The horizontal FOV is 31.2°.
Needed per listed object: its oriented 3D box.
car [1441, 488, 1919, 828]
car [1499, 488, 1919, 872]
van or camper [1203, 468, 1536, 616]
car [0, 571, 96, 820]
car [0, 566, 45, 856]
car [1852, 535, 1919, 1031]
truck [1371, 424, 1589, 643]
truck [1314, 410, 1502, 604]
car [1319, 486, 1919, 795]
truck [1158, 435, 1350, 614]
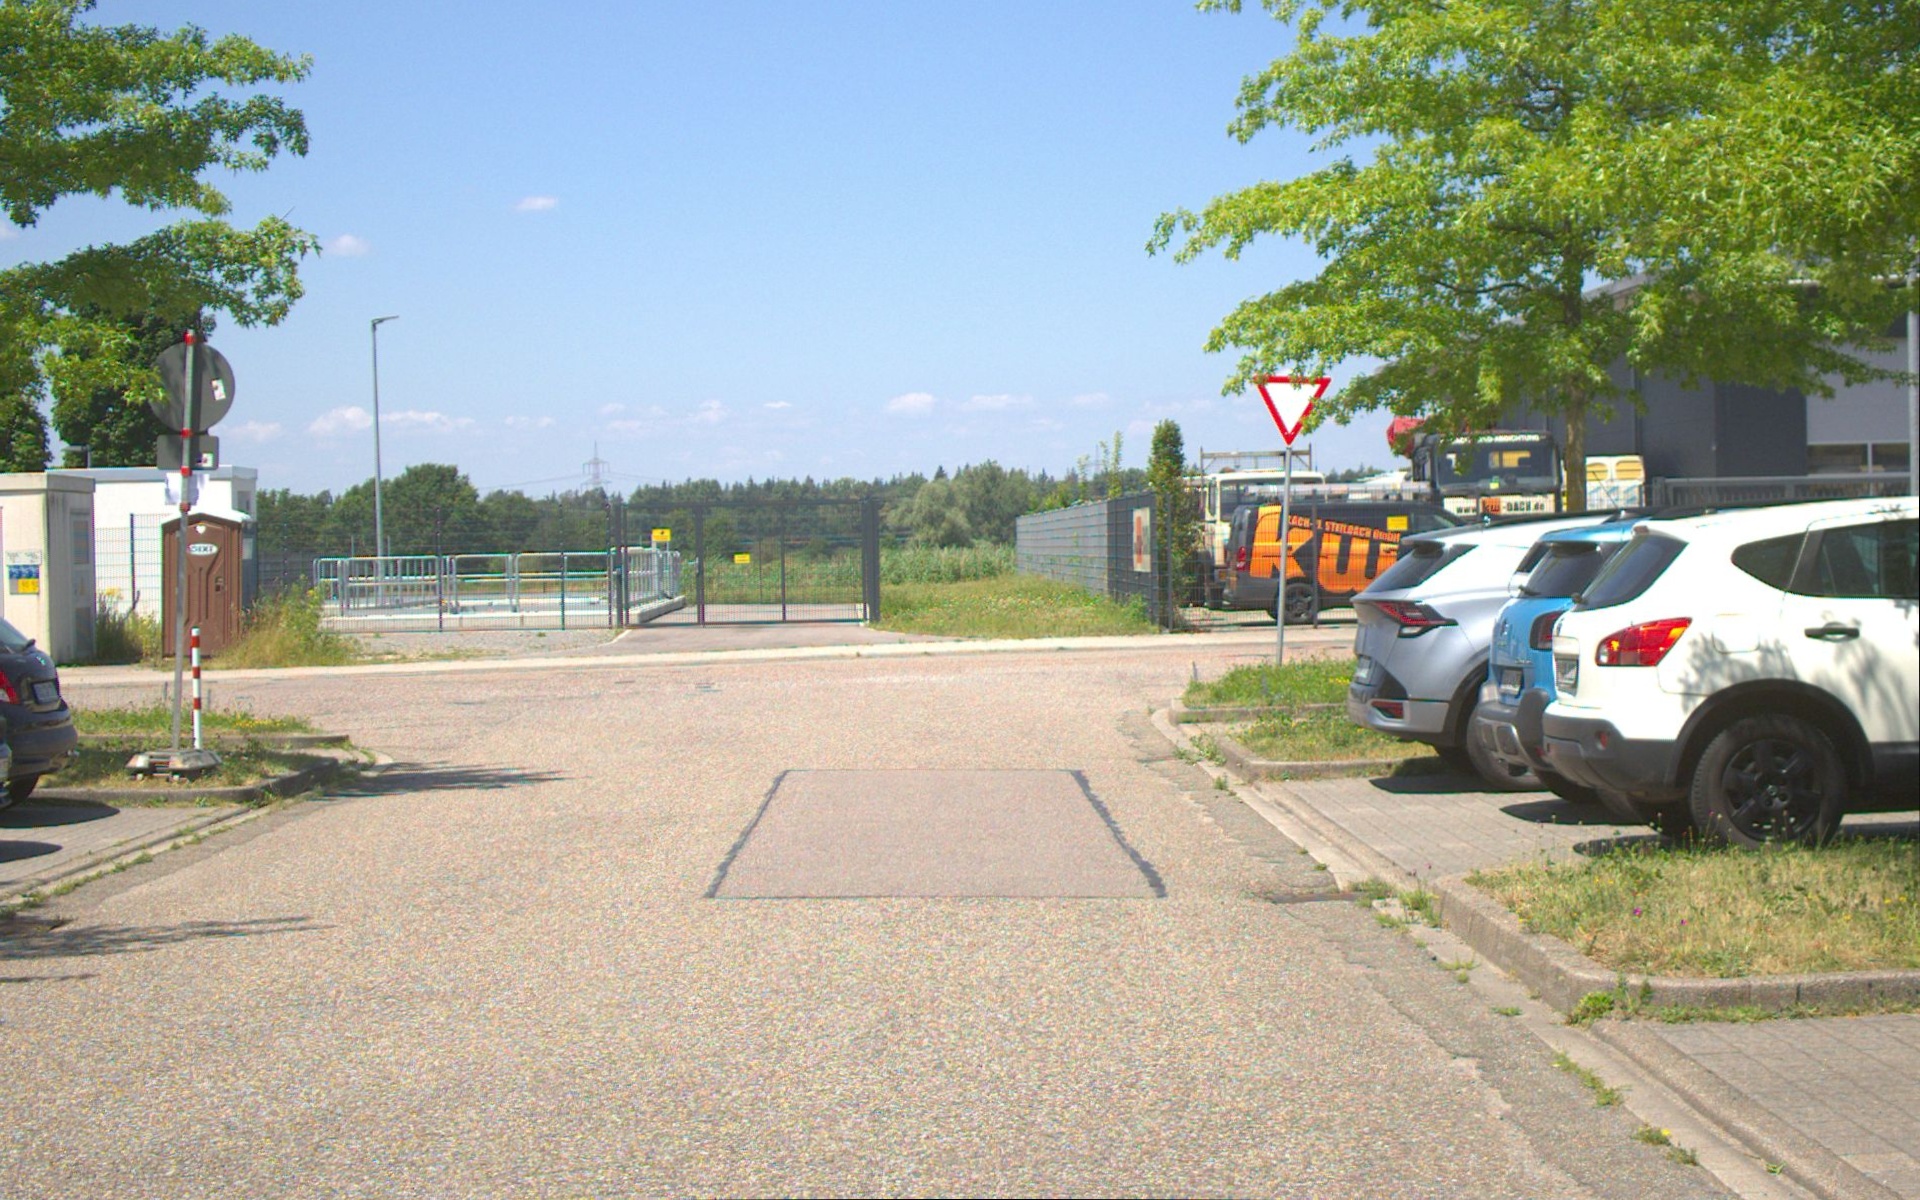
[{"bbox_3d":[4.736,0.241,18.373,3.987,1.638,1.838,-2,1,-1],"label":"car"},{"bbox_3d":[4.706,0.285,15.908,4.068,1.602,1.901,-3,0,1],"label":"car"},{"bbox_3d":[6.416,-0.938,54.254,4.936,2.156,2.000,-2,2,-1],"label":"van or camper"},{"bbox_3d":[-7.247,0.536,20.846,3.625,1.431,1.726,1,1,-3],"label":"car"},{"bbox_3d":[-7.008,0.564,18.126,3.927,1.515,1.785,1,1,-3],"label":"car"},{"bbox_3d":[4.661,0.449,9.333,3.922,1.405,1.909,-2,0,0],"label":"car"},{"bbox_3d":[9.942,-1.301,66.390,2.921,3.915,6.936,-2,1,-1],"label":"truck"},{"bbox_3d":[9.573,-2.002,74.220,2.921,3.915,6.936,-2,1,-1],"label":"truck"},{"bbox_3d":[4.456,0.196,20.917,4.279,1.638,1.851,-3,1,0],"label":"car"},{"bbox_3d":[5.341,-1.407,63.470,2.726,3.051,6.936,-2,1,-1],"label":"truck"}]
